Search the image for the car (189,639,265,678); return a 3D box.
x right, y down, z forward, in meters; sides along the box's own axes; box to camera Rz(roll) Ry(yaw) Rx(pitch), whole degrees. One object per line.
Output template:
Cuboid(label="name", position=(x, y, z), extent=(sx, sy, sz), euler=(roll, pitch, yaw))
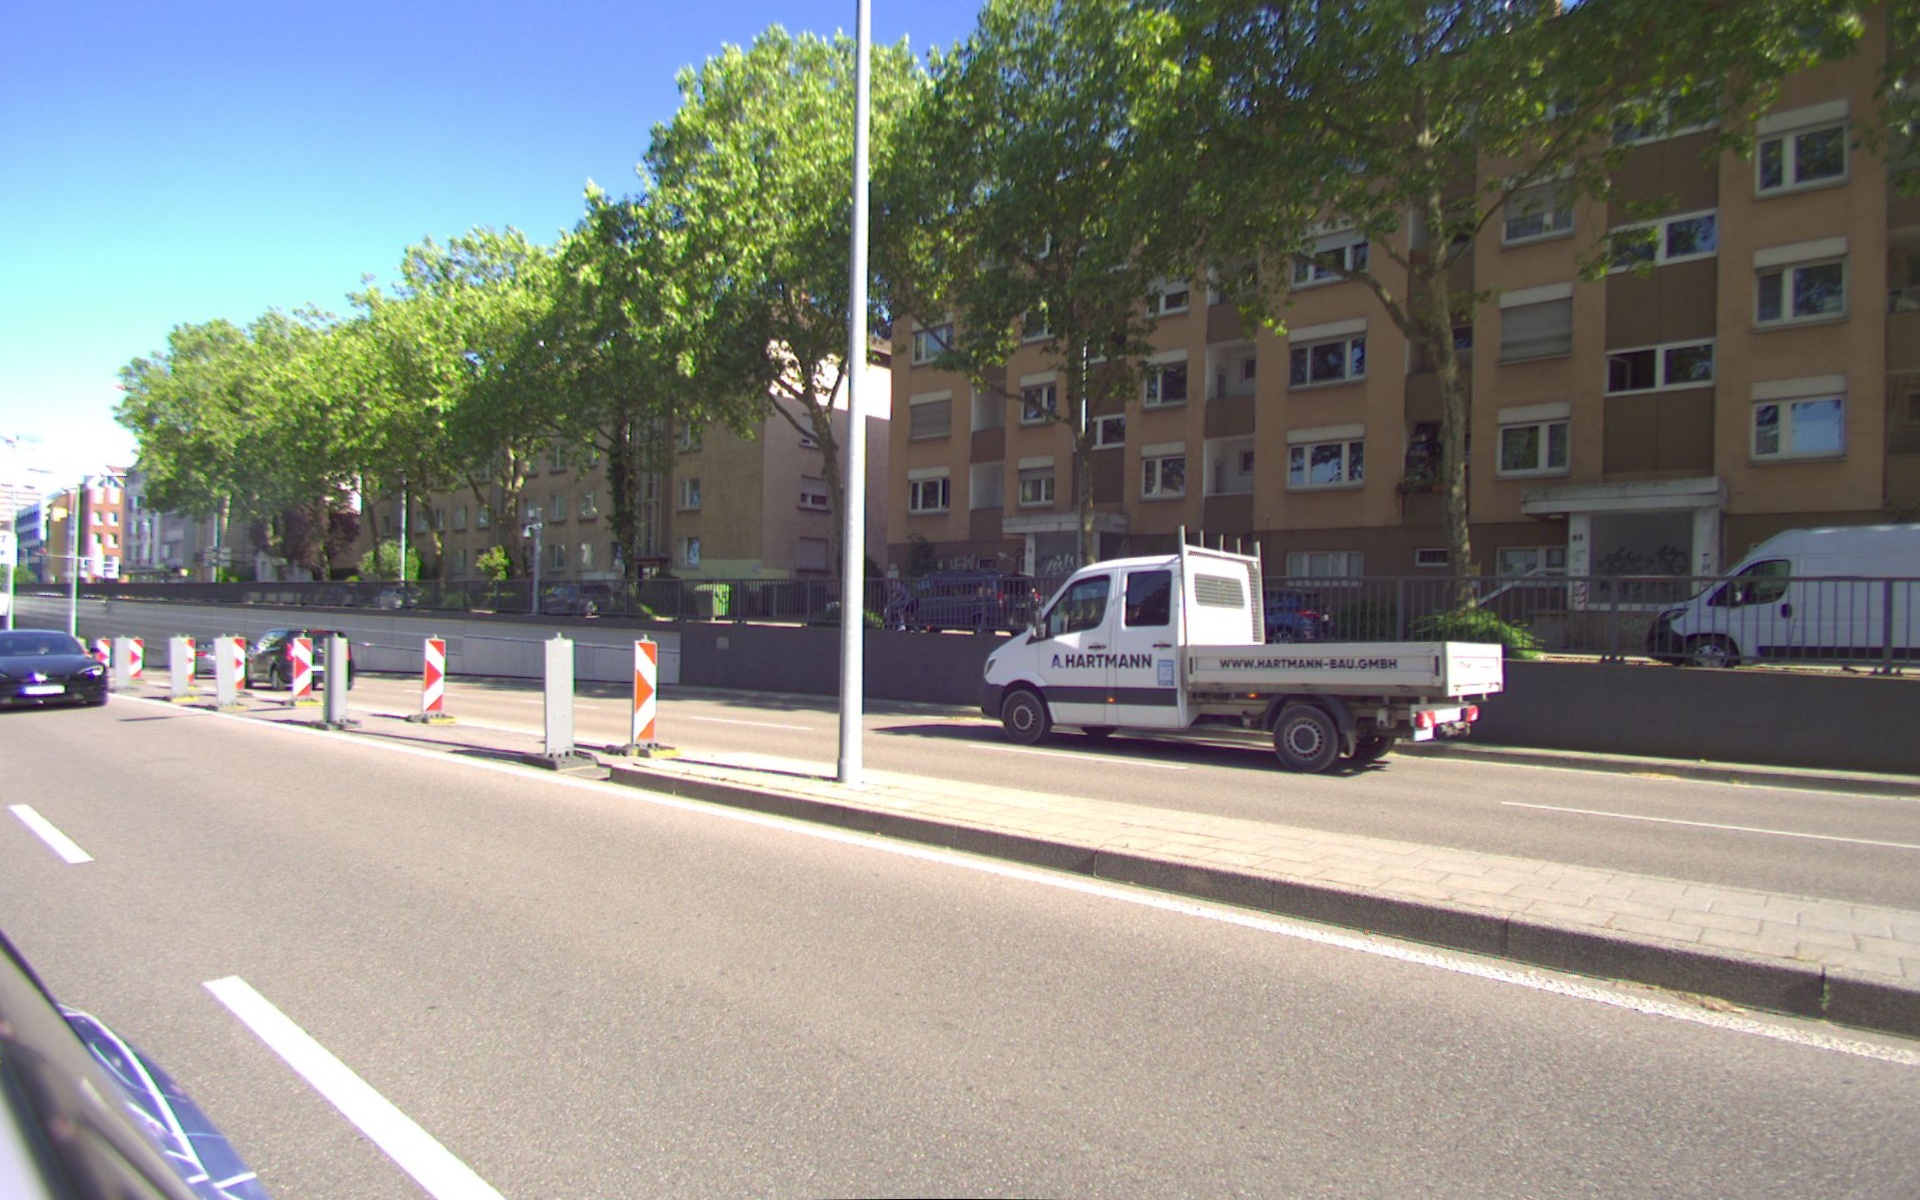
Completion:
Cuboid(label="car", position=(-29.178, 2.322, 40.253), extent=(3.715, 1.476, 1.523), euler=(-1, -4, 40))

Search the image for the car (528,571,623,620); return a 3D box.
Cuboid(label="car", position=(-16.459, -0.188, 43.237), extent=(4.411, 1.975, 1.945), euler=(0, 0, 41))

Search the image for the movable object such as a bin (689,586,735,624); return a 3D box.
Cuboid(label="movable object such as a bin", position=(-9.950, 0.183, 40.586), extent=(1.354, 1.495, 1.196), euler=(-1, 0, 33))

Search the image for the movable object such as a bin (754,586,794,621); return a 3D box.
Cuboid(label="movable object such as a bin", position=(-8.025, 0.152, 43.683), extent=(1.146, 1.495, 1.301), euler=(-1, 0, 38))

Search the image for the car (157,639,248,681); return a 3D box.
Cuboid(label="car", position=(-24.881, 1.967, 33.205), extent=(3.925, 1.310, 1.523), euler=(-2, -5, 40))

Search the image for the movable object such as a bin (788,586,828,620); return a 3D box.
Cuboid(label="movable object such as a bin", position=(-6.725, 0.121, 44.862), extent=(1.146, 1.495, 1.301), euler=(-1, 0, 38))

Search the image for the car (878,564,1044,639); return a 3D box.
Cuboid(label="car", position=(-0.025, 0.052, 28.770), extent=(4.522, 1.975, 1.946), euler=(0, 0, 39))

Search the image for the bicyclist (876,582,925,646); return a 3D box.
Cuboid(label="bicyclist", position=(-1.560, 0.357, 26.437), extent=(1.021, 1.645, 0.767), euler=(-1, 0, 38))

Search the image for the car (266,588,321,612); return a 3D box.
Cuboid(label="car", position=(-44.722, 0.015, 67.881), extent=(4.299, 1.596, 1.902), euler=(0, 0, 39))

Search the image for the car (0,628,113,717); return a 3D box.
Cuboid(label="car", position=(-17.057, 1.274, 18.379), extent=(3.998, 1.426, 1.973), euler=(-2, -1, 41))

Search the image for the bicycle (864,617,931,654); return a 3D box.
Cuboid(label="bicycle", position=(-1.648, 0.912, 26.511), extent=(1.756, 0.934, 0.650), euler=(0, 0, 38))

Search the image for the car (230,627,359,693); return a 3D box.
Cuboid(label="car", position=(-15.956, 1.427, 24.212), extent=(3.605, 1.469, 1.592), euler=(-2, -5, 40))

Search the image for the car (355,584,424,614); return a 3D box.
Cuboid(label="car", position=(-31.564, -0.042, 55.979), extent=(4.299, 1.596, 1.902), euler=(0, 0, 39))

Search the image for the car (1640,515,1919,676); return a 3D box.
Cuboid(label="car", position=(14.266, -0.077, 16.184), extent=(5.417, 2.377, 1.972), euler=(0, 0, 42))

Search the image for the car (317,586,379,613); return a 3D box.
Cuboid(label="car", position=(-37.365, -0.022, 61.728), extent=(4.299, 1.596, 1.902), euler=(0, 0, 39))

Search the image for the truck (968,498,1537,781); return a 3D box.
Cuboid(label="truck", position=(3.110, 0.478, 11.993), extent=(6.127, 2.547, 2.205), euler=(-2, -4, 42))
